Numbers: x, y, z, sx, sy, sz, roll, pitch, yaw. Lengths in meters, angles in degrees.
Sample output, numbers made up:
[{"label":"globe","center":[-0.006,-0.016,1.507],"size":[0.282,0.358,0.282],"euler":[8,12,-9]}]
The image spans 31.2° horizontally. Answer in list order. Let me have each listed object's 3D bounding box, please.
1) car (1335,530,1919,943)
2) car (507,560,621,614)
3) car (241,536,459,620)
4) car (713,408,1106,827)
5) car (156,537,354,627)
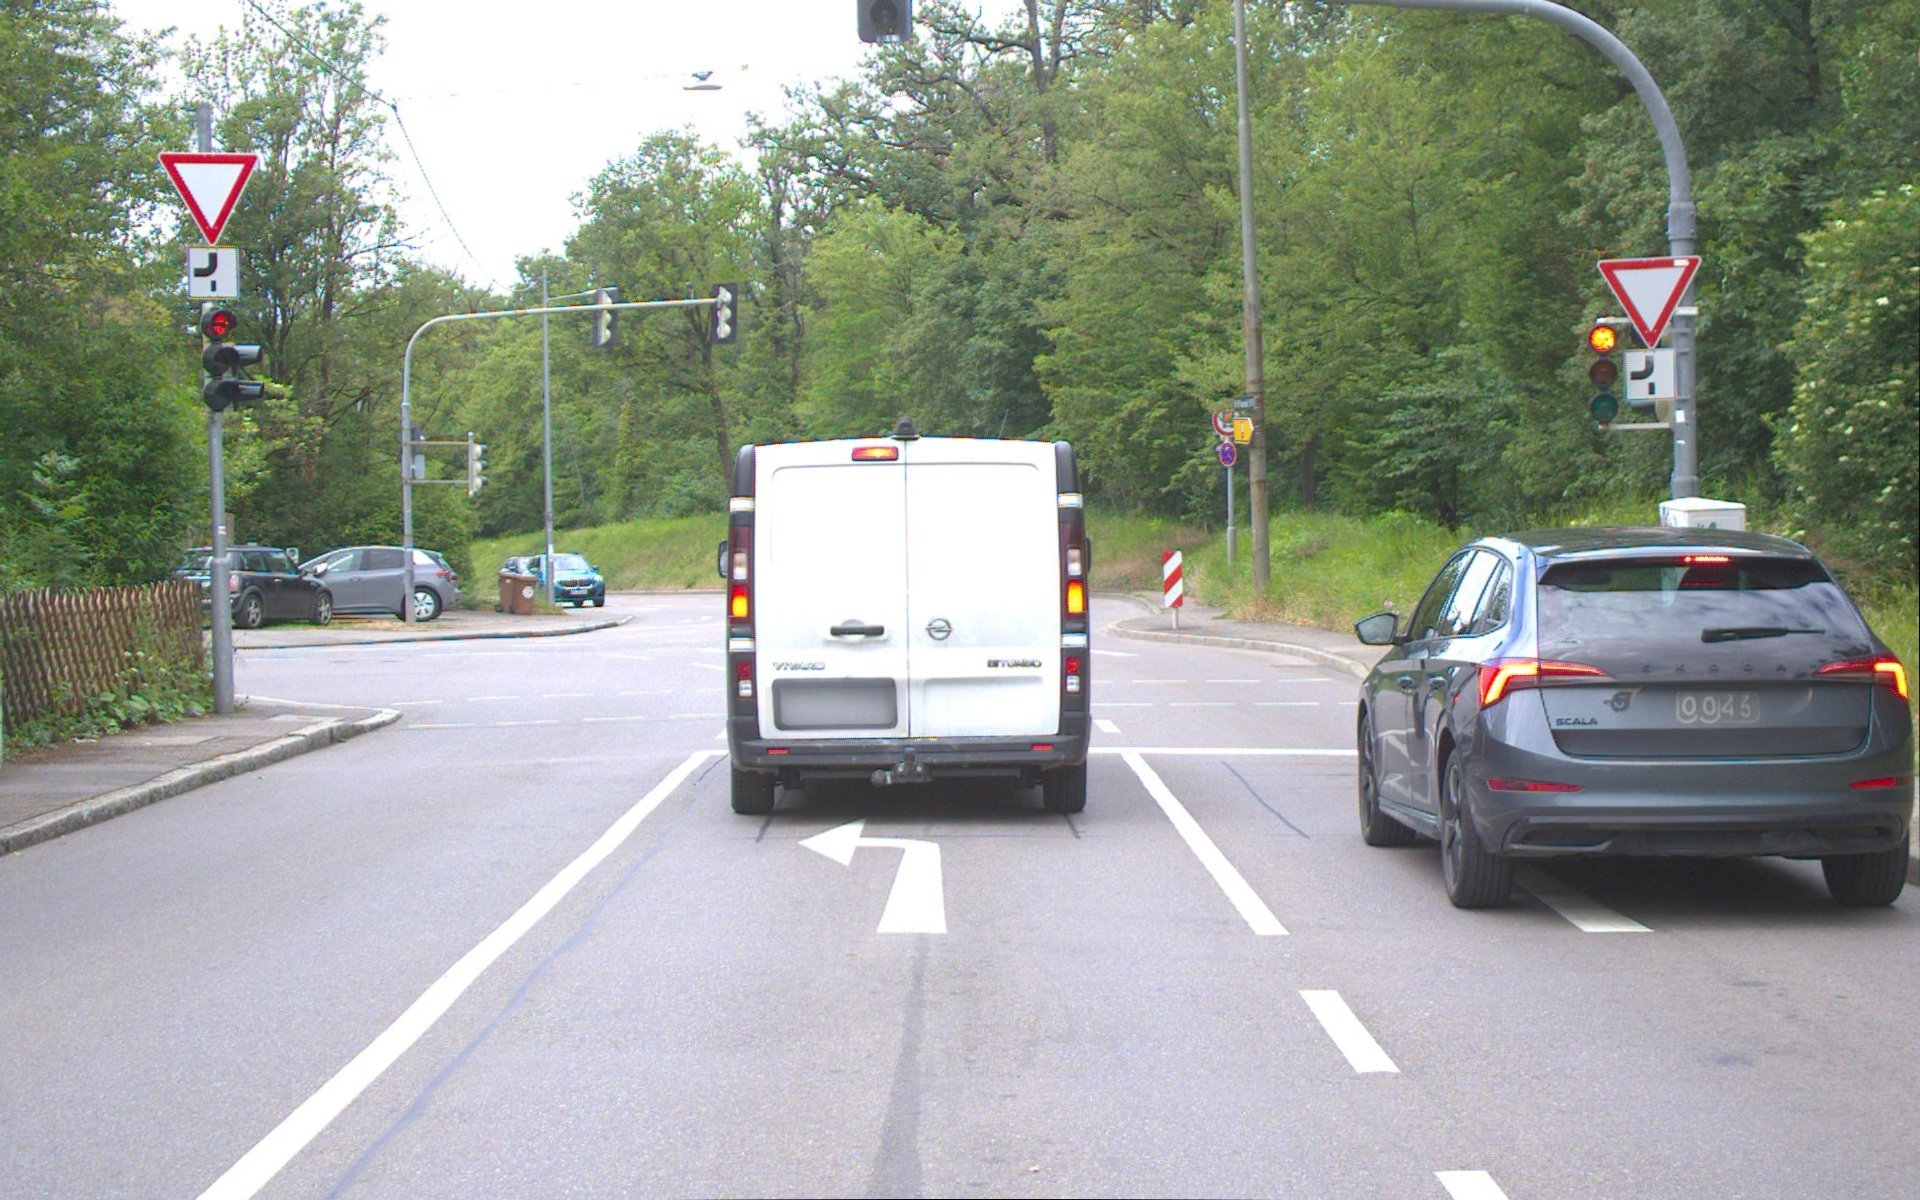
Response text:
[{"label":"car","center":[2.702,0.451,14.361],"size":[1.792,1.445,4.000],"euler":[-1,1,0]},{"label":"car","center":[-11.801,-0.413,102.264],"size":[1.857,1.501,4.000],"euler":[-3,2,-30]},{"label":"car","center":[-12.236,-0.463,68.900],"size":[4.085,1.548,1.855],"euler":[-1,2,-17]},{"label":"car","center":[-0.340,0.037,19.242],"size":[1.916,2.046,4.615],"euler":[0,1,-2]},{"label":"car","center":[-12.005,-0.328,58.726],"size":[1.699,1.444,3.540],"euler":[2,1,20]}]
